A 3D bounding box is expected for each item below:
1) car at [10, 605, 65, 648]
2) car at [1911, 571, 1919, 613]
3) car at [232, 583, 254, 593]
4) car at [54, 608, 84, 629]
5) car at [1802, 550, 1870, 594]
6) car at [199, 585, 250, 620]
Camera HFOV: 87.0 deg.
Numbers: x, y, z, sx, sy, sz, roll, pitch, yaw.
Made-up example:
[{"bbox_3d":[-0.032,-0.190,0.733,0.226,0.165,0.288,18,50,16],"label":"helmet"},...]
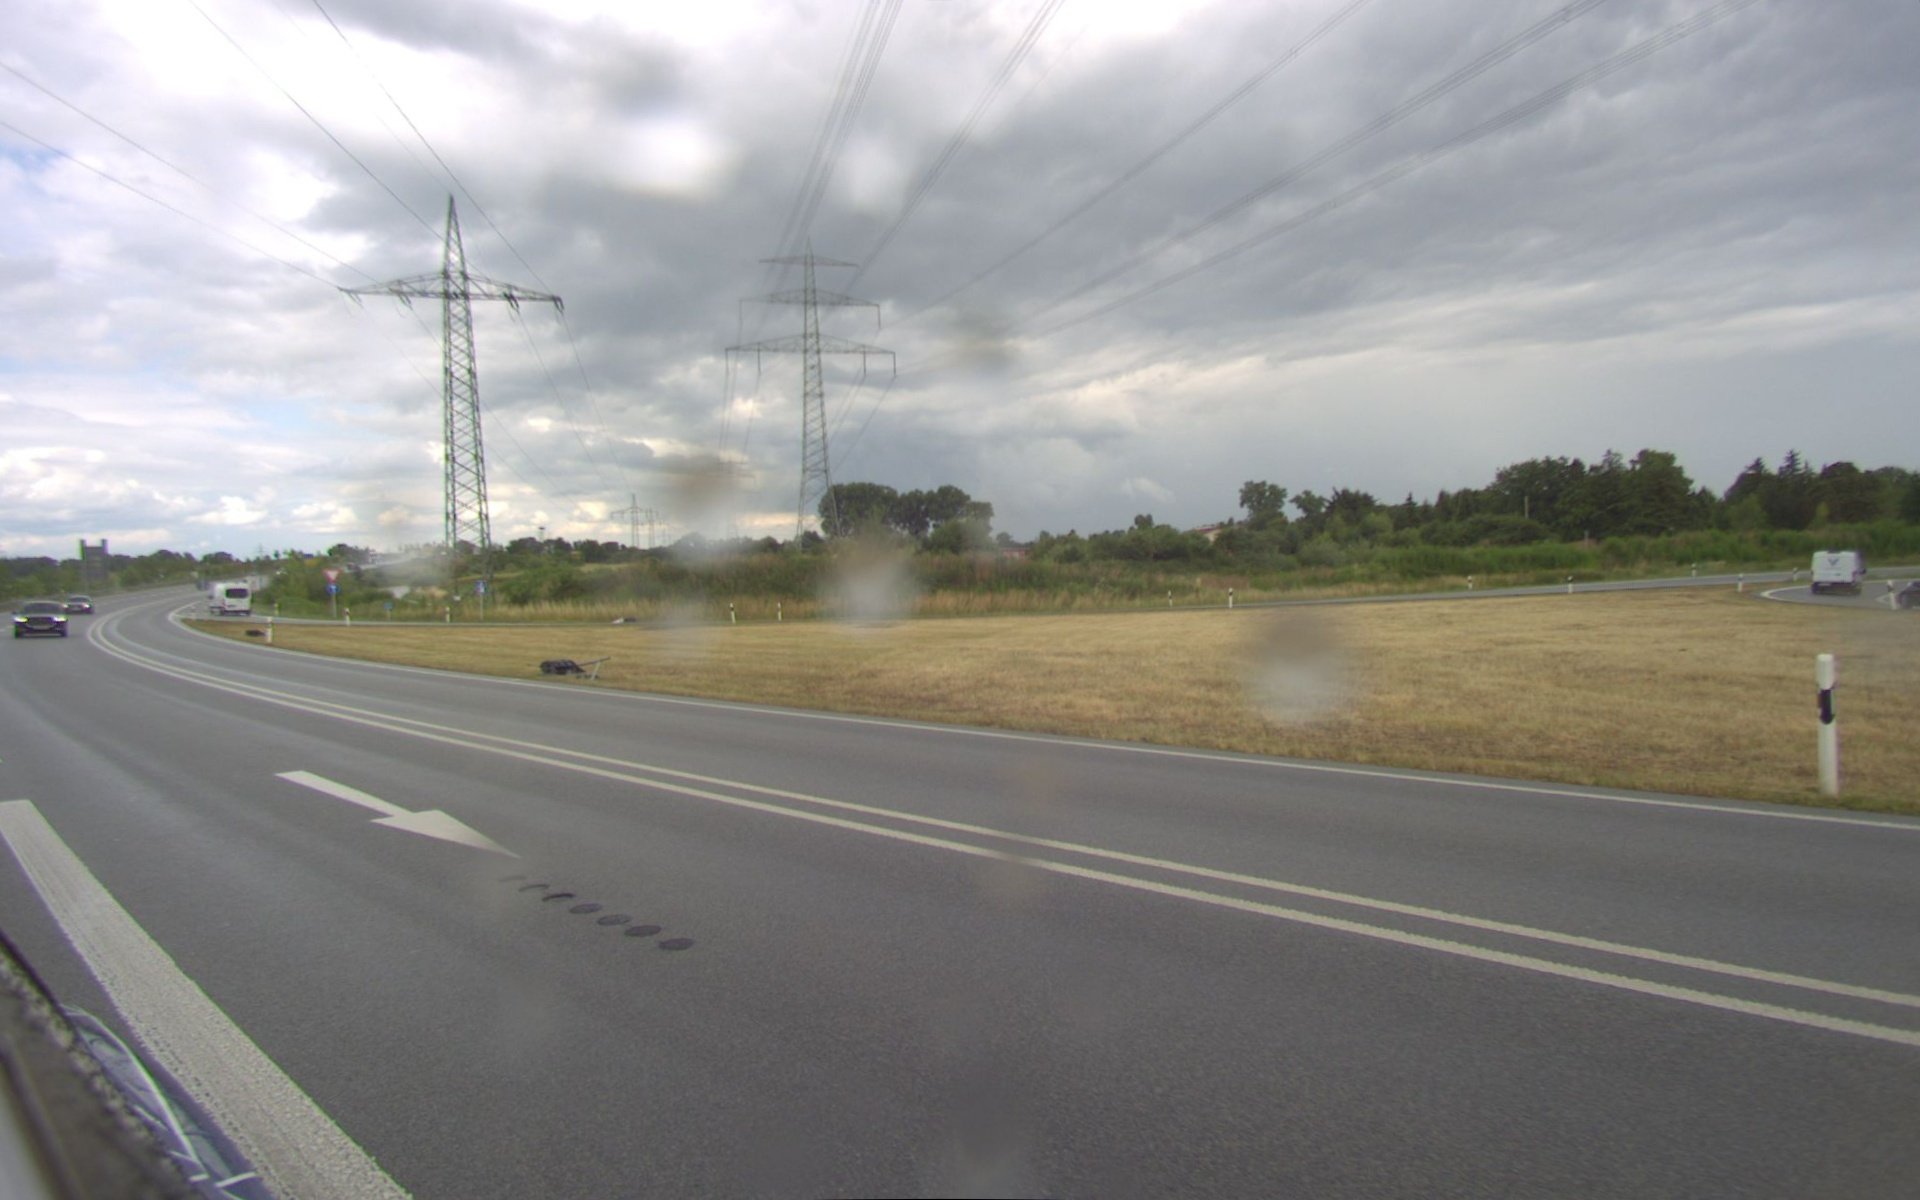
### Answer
[{"bbox_3d":[-42.646,1.196,46.809,1.770,1.782,4.005,-2,2,-42],"label":"car"},{"bbox_3d":[37.495,-0.279,37.378,1.972,1.615,3.892,0,1,19],"label":"car"},{"bbox_3d":[-116.391,-1.947,164.321,1.774,1.606,4.239,-2,1,-19],"label":"car"},{"bbox_3d":[-71.502,1.473,81.236,1.723,1.508,4.056,-2,2,-42],"label":"car"},{"bbox_3d":[50.527,-1.592,58.488,2.437,2.408,5.405,0,2,35],"label":"car"},{"bbox_3d":[-60.240,0.170,82.862,6.020,2.770,2.184,1,1,42],"label":"car"}]
